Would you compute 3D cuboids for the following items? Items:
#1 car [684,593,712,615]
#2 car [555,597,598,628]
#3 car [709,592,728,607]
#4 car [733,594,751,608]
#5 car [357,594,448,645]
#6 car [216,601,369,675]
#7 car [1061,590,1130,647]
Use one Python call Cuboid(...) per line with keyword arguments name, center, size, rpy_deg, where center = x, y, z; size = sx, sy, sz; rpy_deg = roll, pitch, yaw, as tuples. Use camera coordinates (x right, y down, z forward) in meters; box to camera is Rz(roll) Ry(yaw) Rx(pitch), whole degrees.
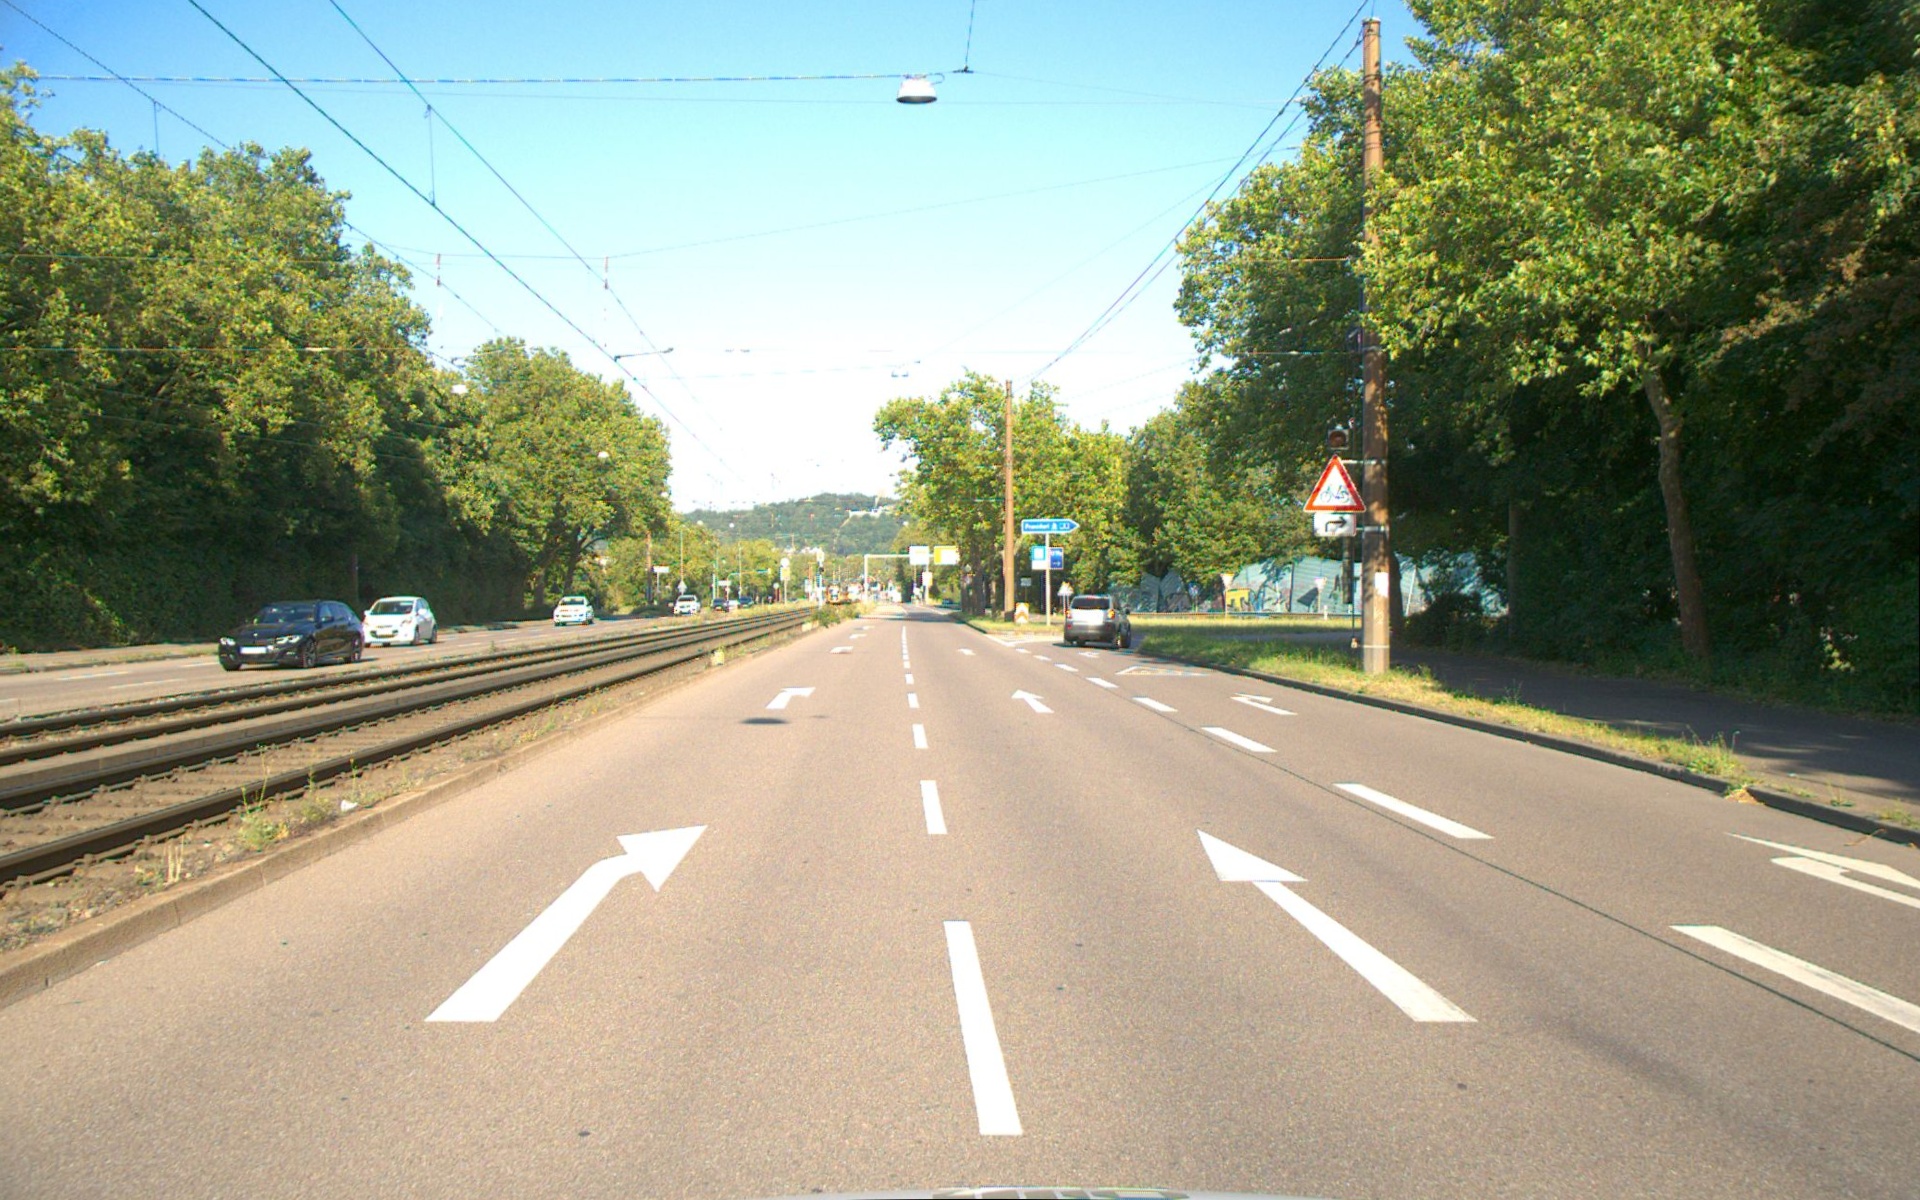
Cuboid(name="car", center=(-22.509, 0.329, 142.089), size=(1.924, 1.737, 4.939), rpy_deg=(-2, 0, -5))
Cuboid(name="car", center=(-23.253, 0.739, 100.512), size=(1.810, 1.764, 4.926), rpy_deg=(-3, 0, -5))
Cuboid(name="car", center=(-25.633, -0.026, 175.558), size=(1.677, 1.493, 4.344), rpy_deg=(-3, 0, -4))
Cuboid(name="car", center=(-27.518, 0.155, 208.972), size=(1.861, 1.724, 4.937), rpy_deg=(-2, 0, -4))
Cuboid(name="car", center=(-18.485, 0.625, 55.002), size=(1.657, 1.583, 4.189), rpy_deg=(-2, 0, -2))
Cuboid(name="car", center=(-14.620, 0.792, 36.510), size=(1.624, 1.457, 4.500), rpy_deg=(-2, 0, -2))
Cuboid(name="car", center=(4.515, 0.598, 54.667), size=(1.770, 1.804, 3.865), rpy_deg=(1, 0, 12))
